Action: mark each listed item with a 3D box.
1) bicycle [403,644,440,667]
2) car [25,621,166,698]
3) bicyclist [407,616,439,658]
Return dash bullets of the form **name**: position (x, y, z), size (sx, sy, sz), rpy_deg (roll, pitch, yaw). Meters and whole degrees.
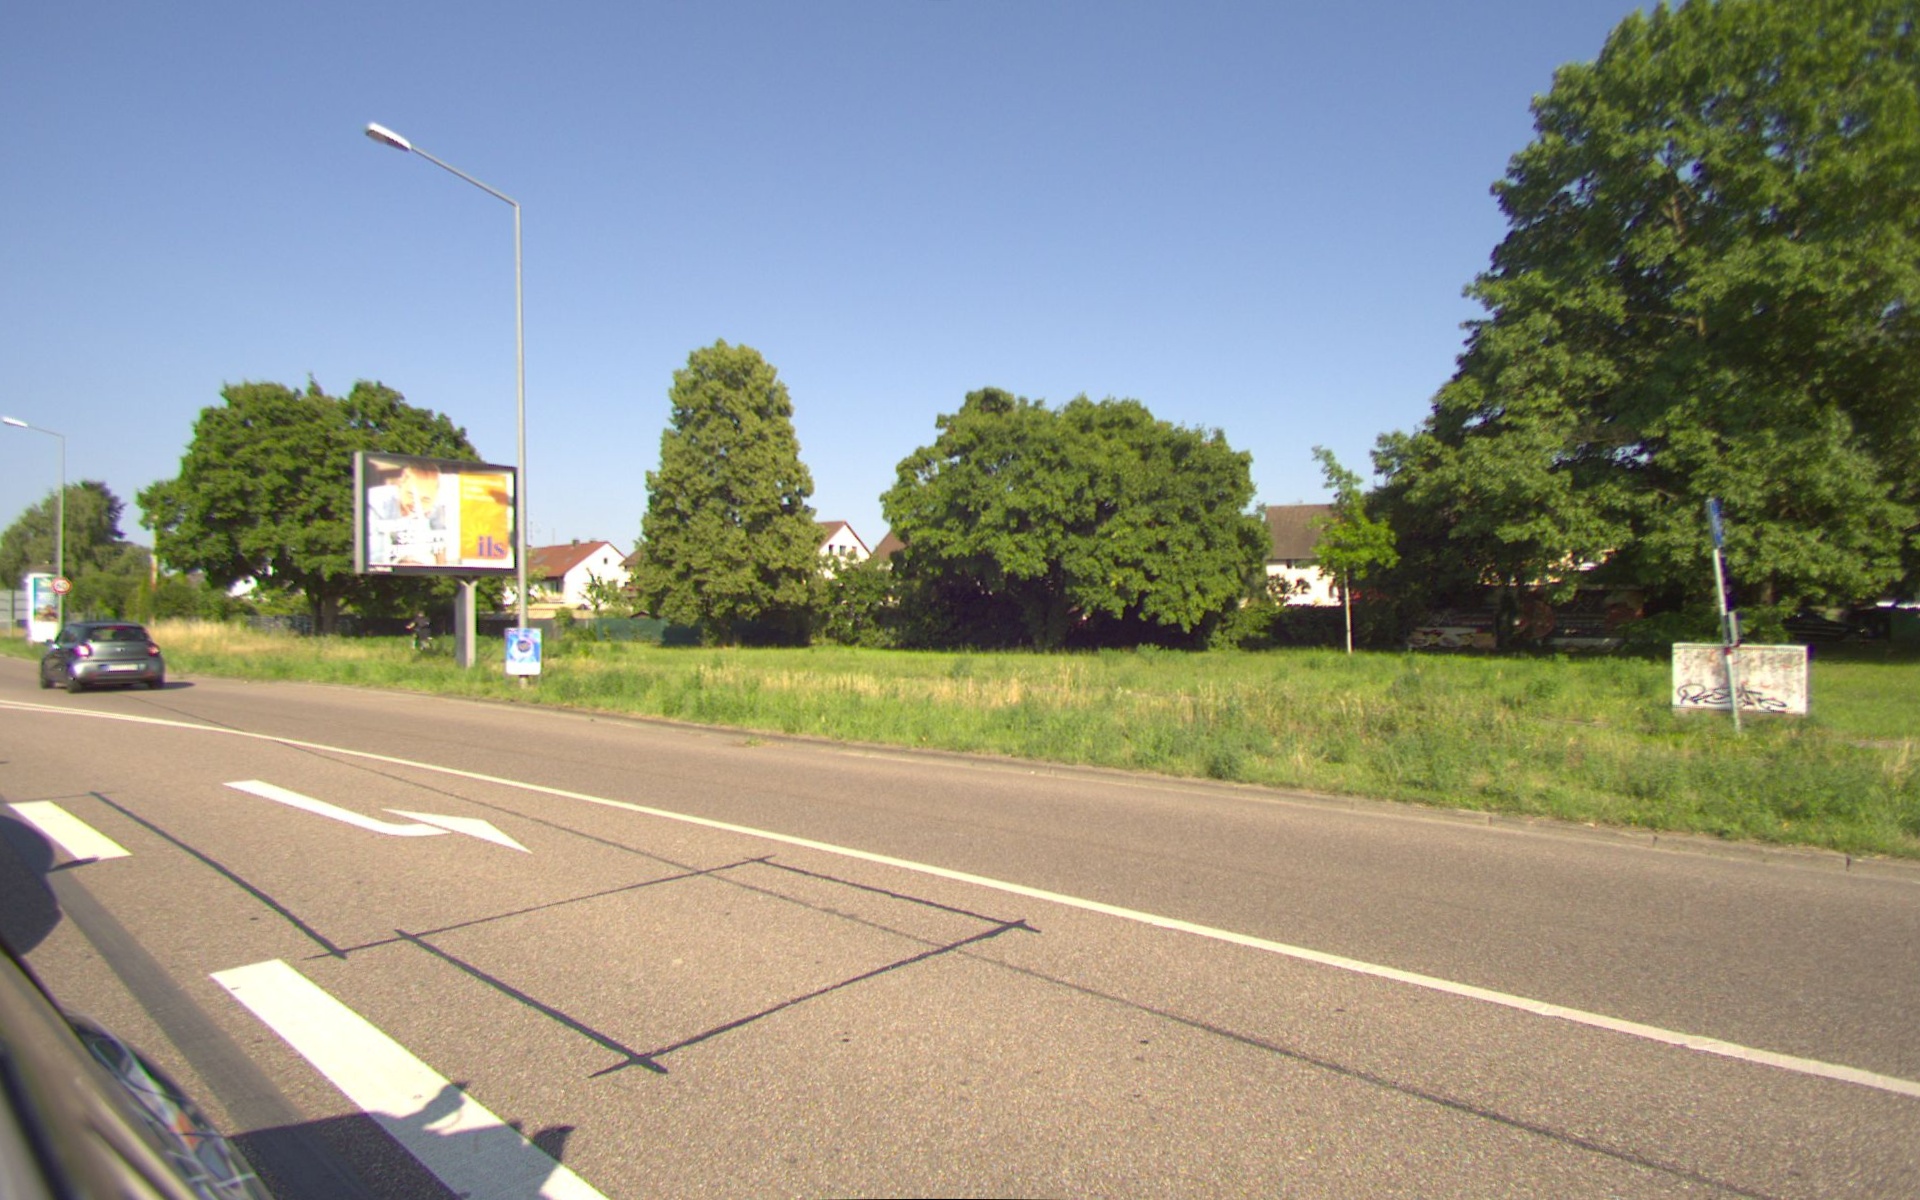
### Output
- **bicycle**: position (-18.646, 1.923, 35.015), size (1.832, 0.759, 0.450), rpy_deg (-1, -1, 40)
- **car**: position (-19.393, 1.274, 22.669), size (3.669, 1.572, 1.618), rpy_deg (-1, -1, 36)
- **bicyclist**: position (-18.597, 1.273, 35.028), size (1.070, 1.439, 0.630), rpy_deg (-1, -1, 39)
